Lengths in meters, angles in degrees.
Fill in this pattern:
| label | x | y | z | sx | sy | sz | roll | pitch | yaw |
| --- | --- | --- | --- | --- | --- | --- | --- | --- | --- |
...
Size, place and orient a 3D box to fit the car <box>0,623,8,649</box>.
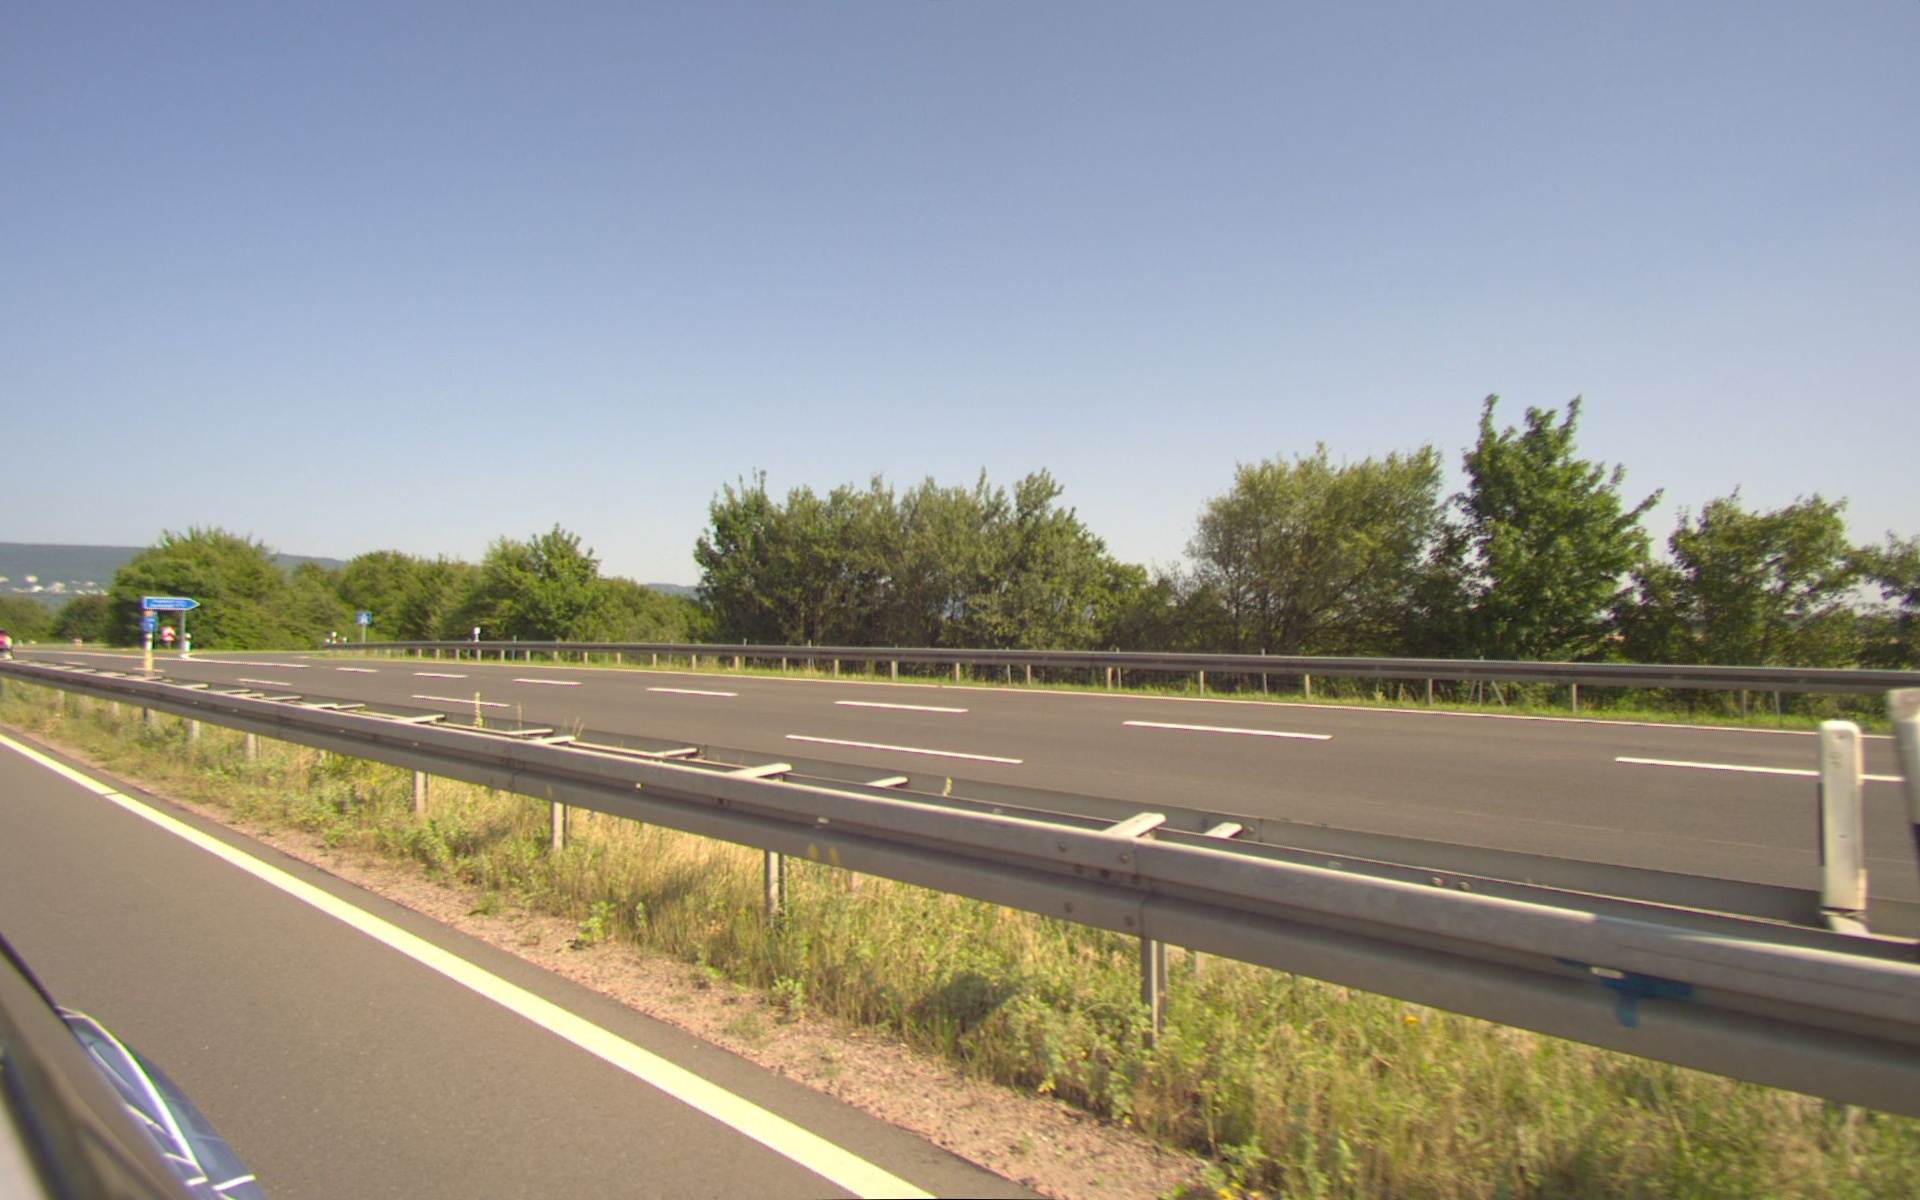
| label | x | y | z | sx | sy | sz | roll | pitch | yaw |
| --- | --- | --- | --- | --- | --- | --- | --- | --- | --- |
| car | -61.481 | 2.280 | 63.749 | 4.259 | 1.586 | 1.627 | -1 | 0 | 38 |
